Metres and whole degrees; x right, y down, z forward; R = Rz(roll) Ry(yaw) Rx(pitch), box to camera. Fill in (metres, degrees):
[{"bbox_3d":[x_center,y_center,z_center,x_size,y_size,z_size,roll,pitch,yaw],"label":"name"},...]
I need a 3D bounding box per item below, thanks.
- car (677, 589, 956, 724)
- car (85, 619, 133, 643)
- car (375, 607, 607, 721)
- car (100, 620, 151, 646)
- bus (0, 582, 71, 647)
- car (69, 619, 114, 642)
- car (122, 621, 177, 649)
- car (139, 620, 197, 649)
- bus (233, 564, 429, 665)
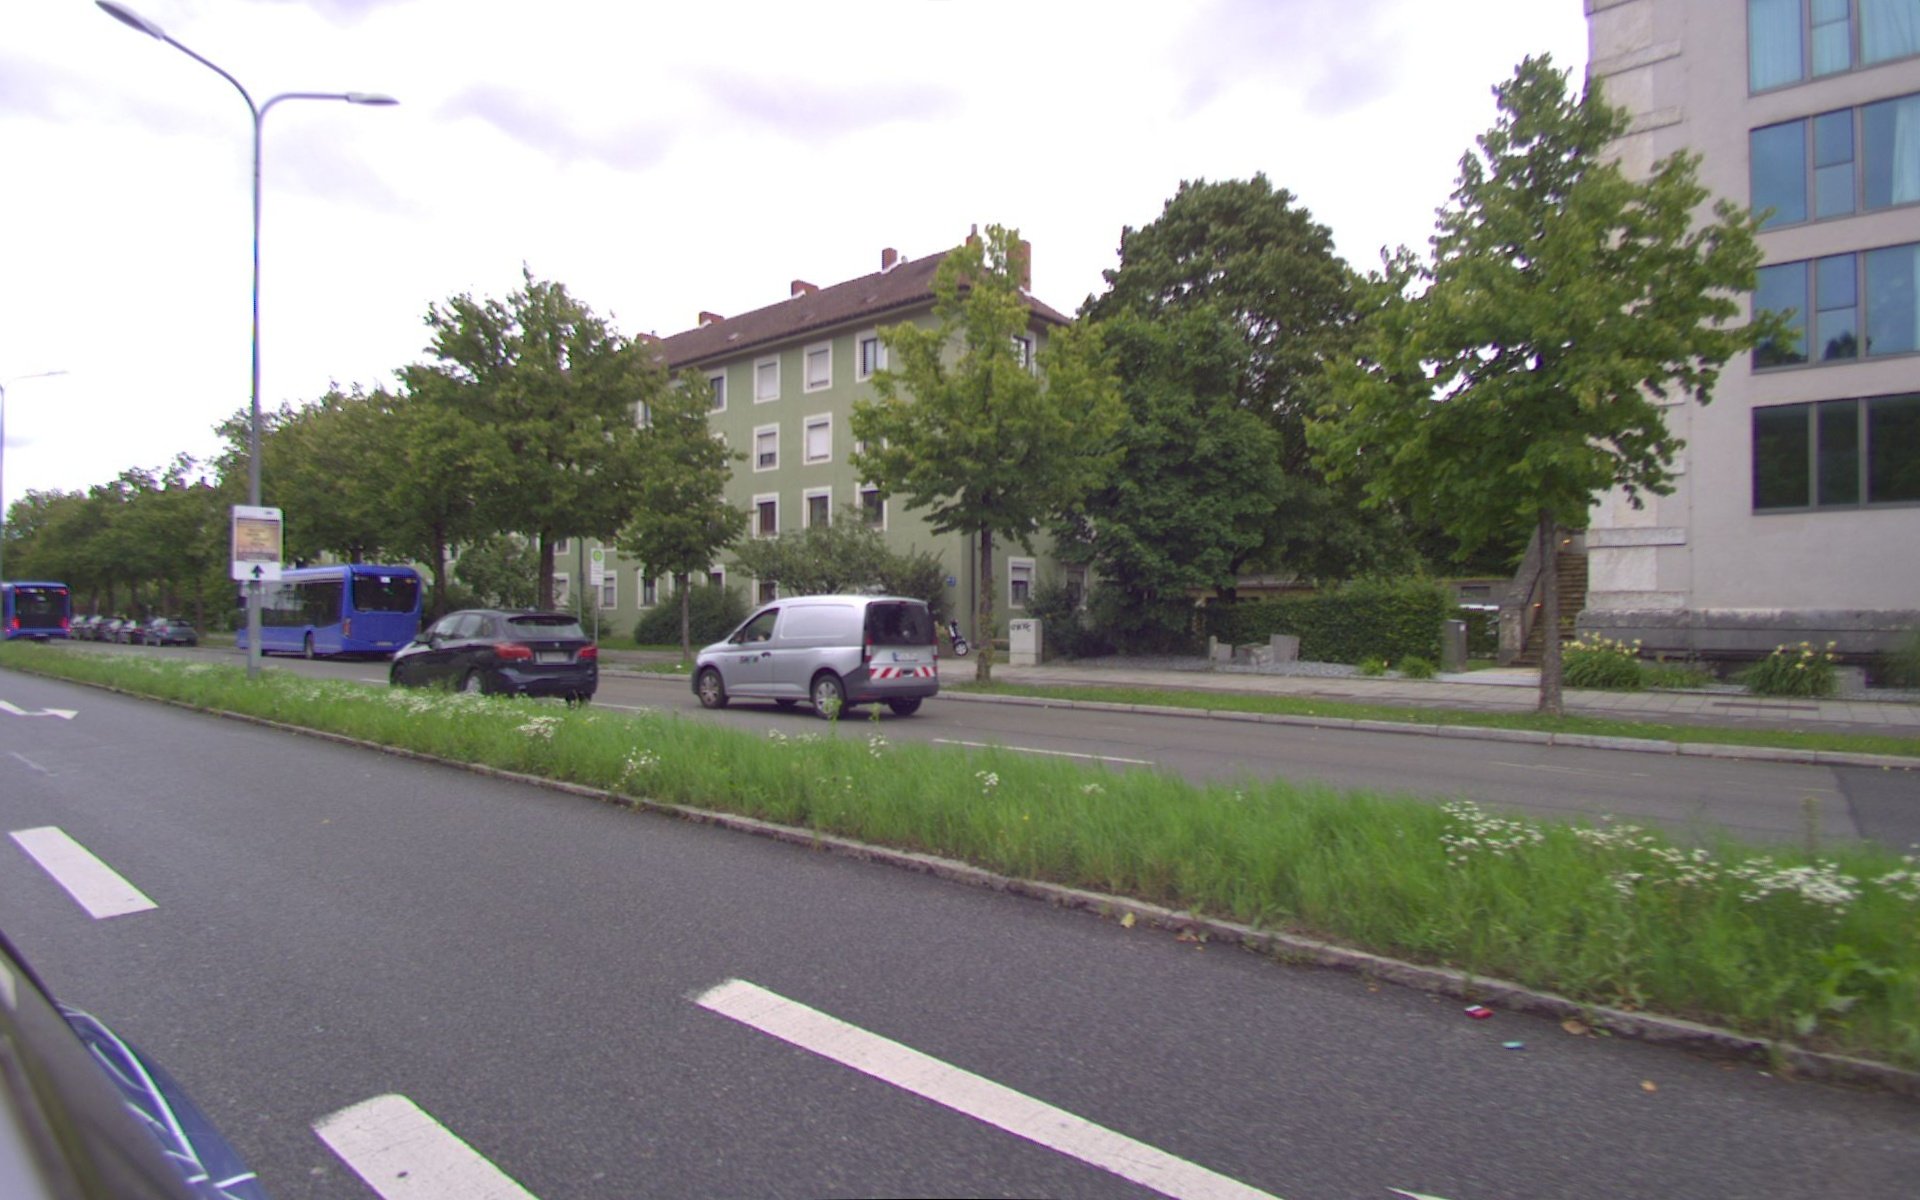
[{"bbox_3d":[-2.339,0.843,15.793,4.426,1.825,1.761,-1,-4,40],"label":"car"},{"bbox_3d":[-54.962,1.986,65.372,3.908,1.473,1.833,-1,0,42],"label":"car"},{"bbox_3d":[-7.541,0.920,16.086,4.287,1.582,1.681,-1,-1,40],"label":"car"},{"bbox_3d":[-51.181,2.009,62.017,3.908,1.473,1.833,-1,0,42],"label":"car"},{"bbox_3d":[-54.100,0.849,57.070,12.238,3.369,2.723,-1,-2,33],"label":"bus"},{"bbox_3d":[-59.689,2.073,69.506,3.908,1.473,1.833,-1,0,42],"label":"car"},{"bbox_3d":[-46.803,2.000,58.408,3.908,1.473,1.833,-1,0,42],"label":"car"},{"bbox_3d":[-43.169,1.860,55.156,3.908,1.473,1.833,-1,0,42],"label":"car"},{"bbox_3d":[-24.181,0.590,38.457,12.040,3.369,2.717,-1,-2,40],"label":"bus"}]
